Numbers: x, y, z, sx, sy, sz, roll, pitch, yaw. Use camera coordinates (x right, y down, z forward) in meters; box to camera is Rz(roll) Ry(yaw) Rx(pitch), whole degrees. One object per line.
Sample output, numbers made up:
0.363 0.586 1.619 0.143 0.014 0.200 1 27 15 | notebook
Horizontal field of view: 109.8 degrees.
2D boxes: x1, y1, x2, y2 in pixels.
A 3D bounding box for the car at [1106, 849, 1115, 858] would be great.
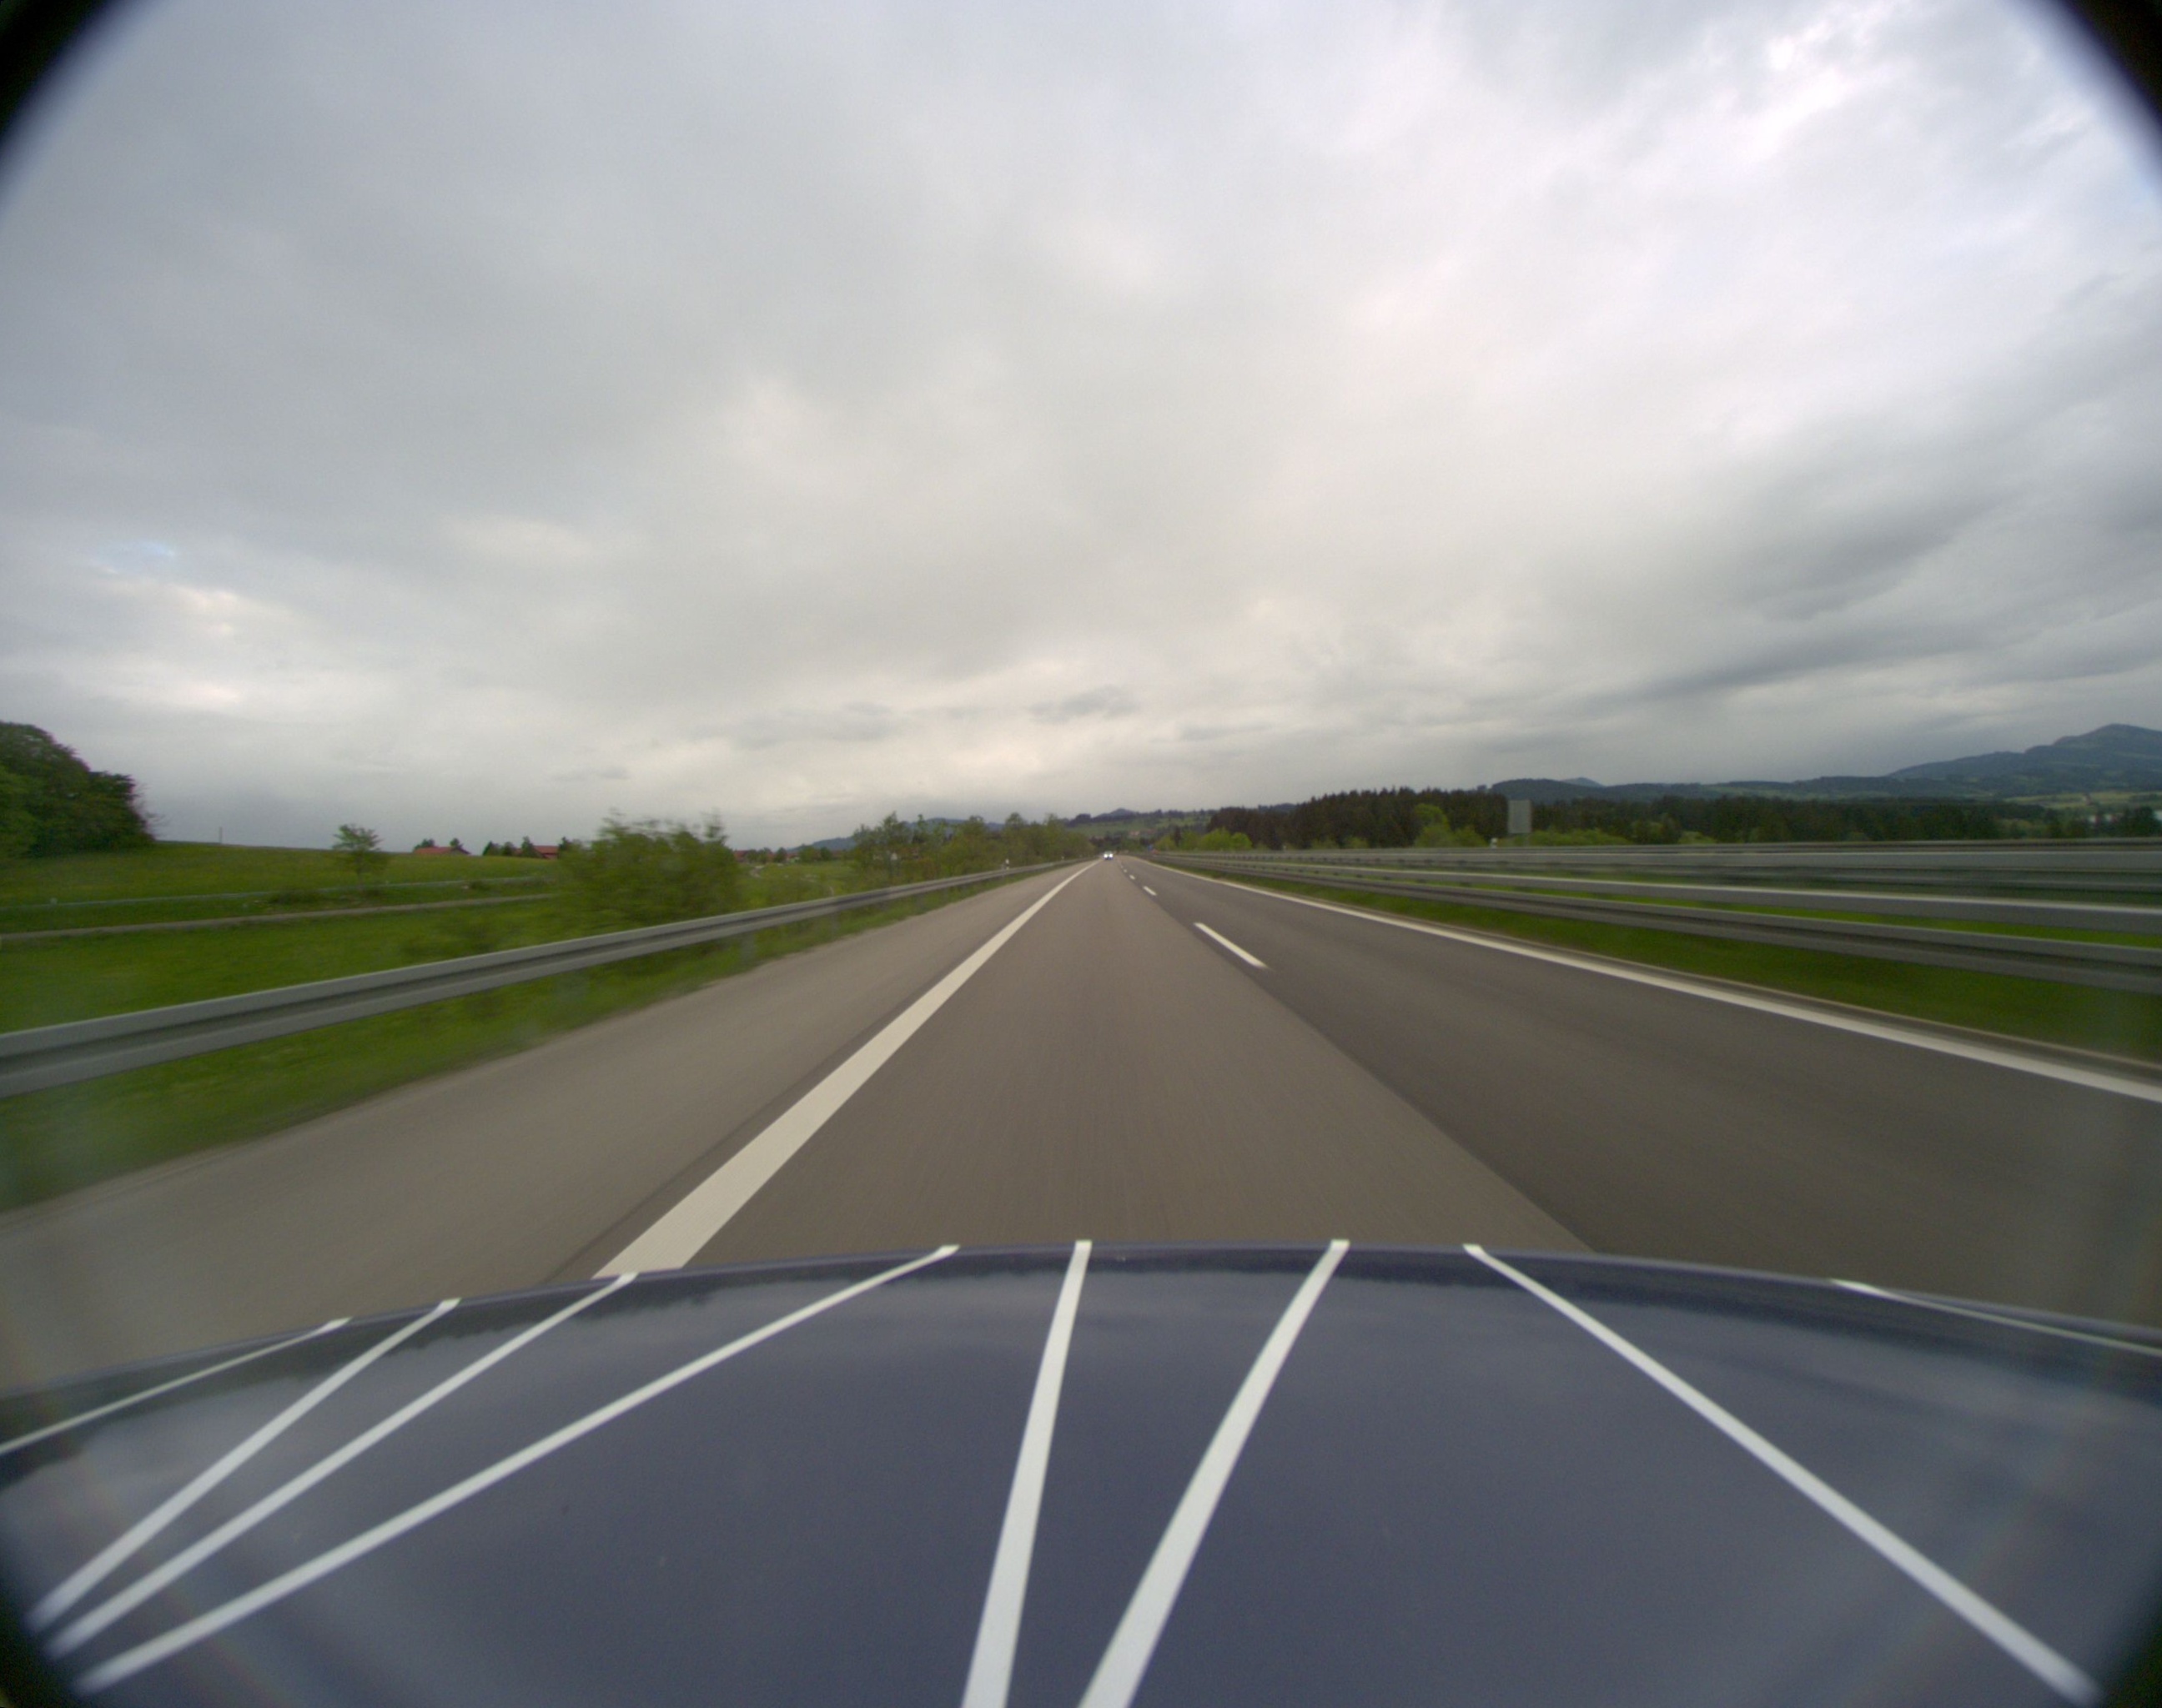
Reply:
6.736 -0.148 171.280 2.021 1.899 4.221 -1 0 3 | car
